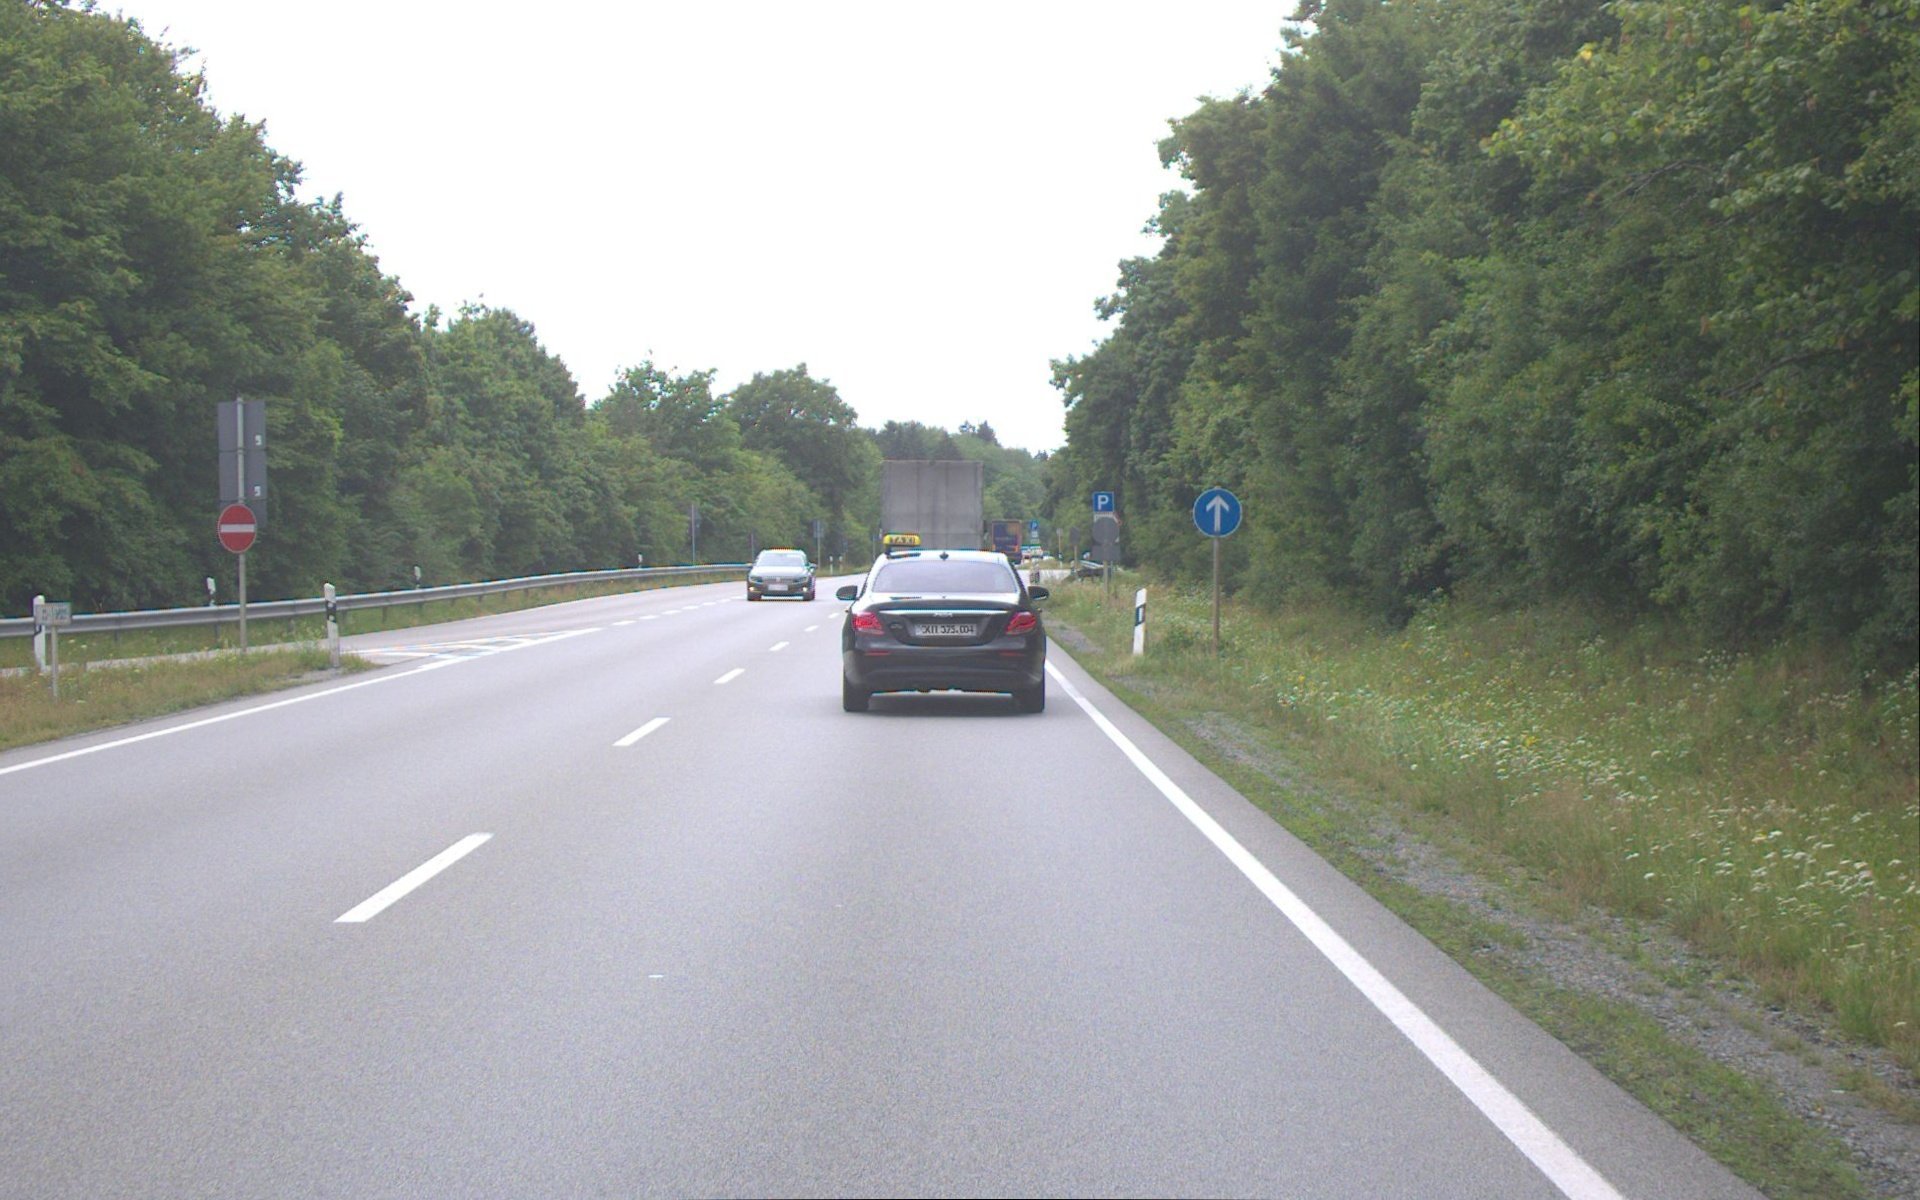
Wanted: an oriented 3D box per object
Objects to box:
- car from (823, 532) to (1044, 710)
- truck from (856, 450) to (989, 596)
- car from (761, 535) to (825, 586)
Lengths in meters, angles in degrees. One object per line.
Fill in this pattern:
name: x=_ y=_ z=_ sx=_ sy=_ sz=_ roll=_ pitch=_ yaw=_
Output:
car: x=-0.311 y=0.153 z=31.925 sx=1.791 sy=1.546 sz=4.001 roll=0 pitch=1 yaw=-4
truck: x=-0.955 y=-2.012 z=91.469 sx=3.281 sy=3.599 sz=11.400 roll=0 pitch=1 yaw=0
car: x=-4.807 y=-1.161 z=99.448 sx=1.808 sy=1.437 sz=4.448 roll=0 pitch=1 yaw=-2
